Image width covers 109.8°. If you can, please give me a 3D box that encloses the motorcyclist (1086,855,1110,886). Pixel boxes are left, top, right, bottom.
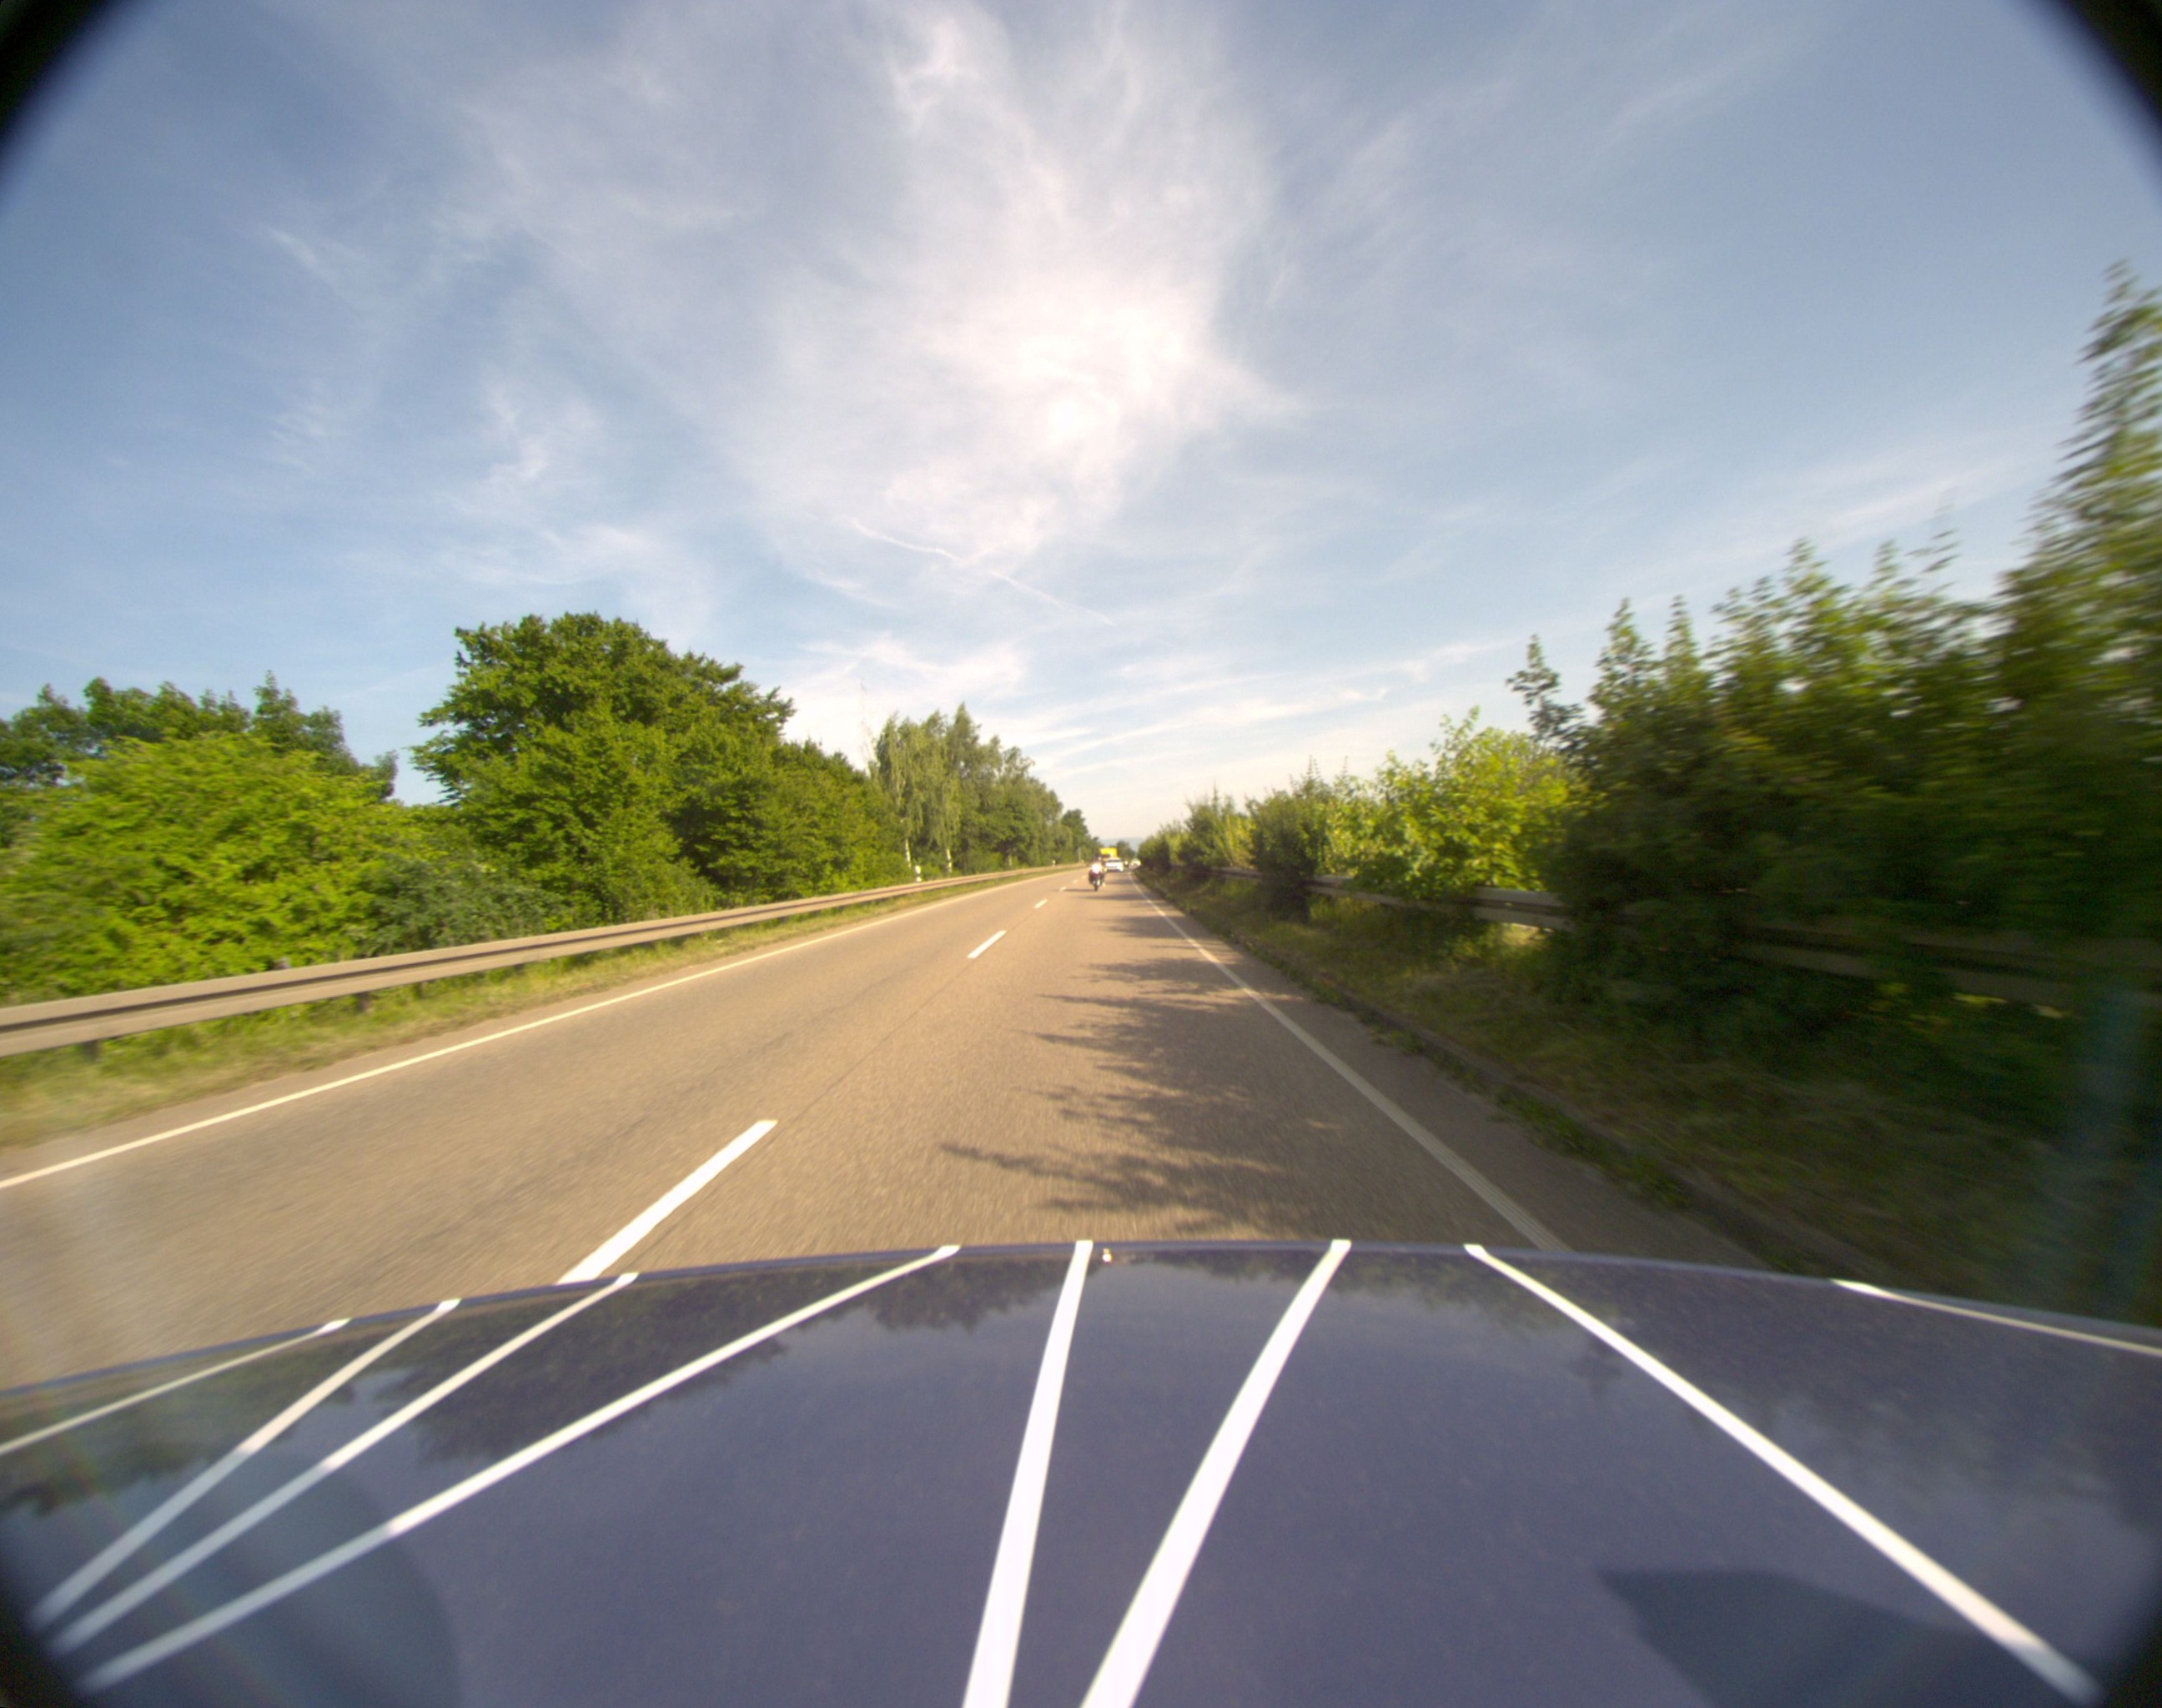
[{"bbox_3d":[0.789,0.751,34.721,0.936,1.344,1.143,-2,0,6],"label":"motorcyclist"}]

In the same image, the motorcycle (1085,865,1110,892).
[{"bbox_3d":[0.778,1.110,34.653,0.936,1.131,2.584,-2,-1,6],"label":"motorcycle"}]

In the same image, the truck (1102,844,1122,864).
[{"bbox_3d":[5.756,-0.009,139.478,2.784,3.296,10.496,-2,-2,5],"label":"truck"}]

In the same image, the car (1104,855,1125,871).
[{"bbox_3d":[3.341,0.902,75.550,1.868,1.454,4.085,-2,0,5],"label":"car"}]
